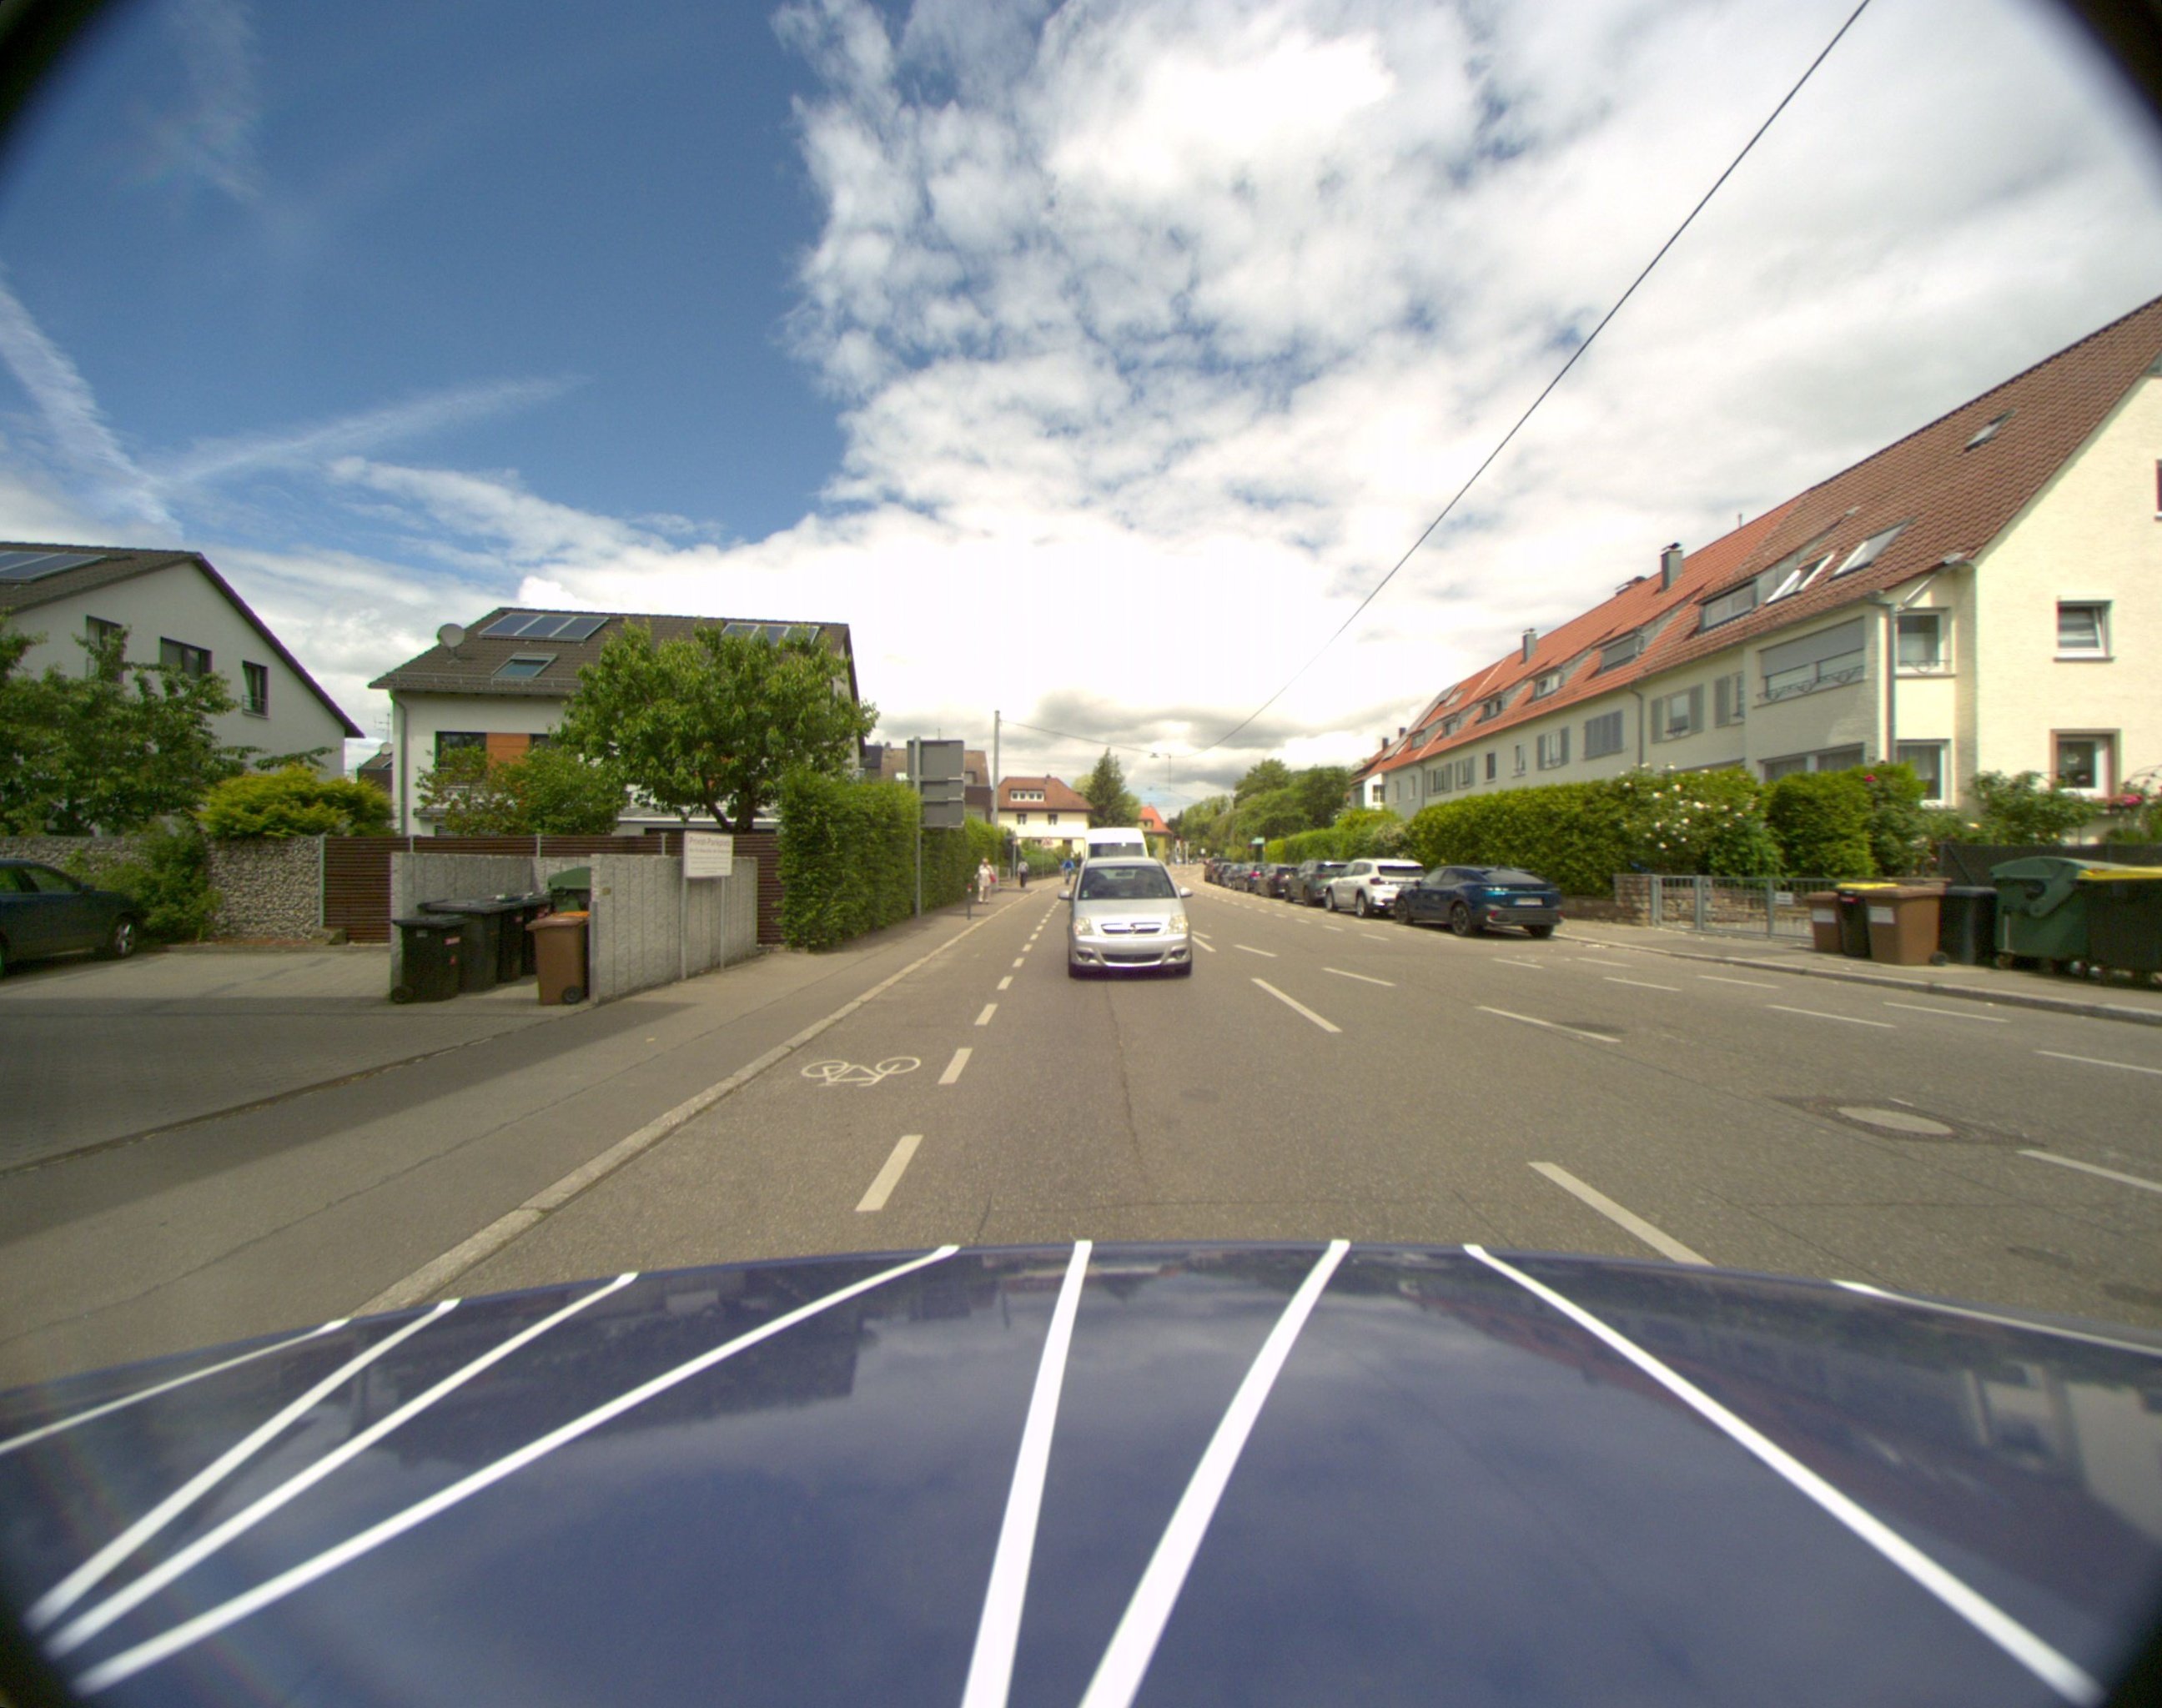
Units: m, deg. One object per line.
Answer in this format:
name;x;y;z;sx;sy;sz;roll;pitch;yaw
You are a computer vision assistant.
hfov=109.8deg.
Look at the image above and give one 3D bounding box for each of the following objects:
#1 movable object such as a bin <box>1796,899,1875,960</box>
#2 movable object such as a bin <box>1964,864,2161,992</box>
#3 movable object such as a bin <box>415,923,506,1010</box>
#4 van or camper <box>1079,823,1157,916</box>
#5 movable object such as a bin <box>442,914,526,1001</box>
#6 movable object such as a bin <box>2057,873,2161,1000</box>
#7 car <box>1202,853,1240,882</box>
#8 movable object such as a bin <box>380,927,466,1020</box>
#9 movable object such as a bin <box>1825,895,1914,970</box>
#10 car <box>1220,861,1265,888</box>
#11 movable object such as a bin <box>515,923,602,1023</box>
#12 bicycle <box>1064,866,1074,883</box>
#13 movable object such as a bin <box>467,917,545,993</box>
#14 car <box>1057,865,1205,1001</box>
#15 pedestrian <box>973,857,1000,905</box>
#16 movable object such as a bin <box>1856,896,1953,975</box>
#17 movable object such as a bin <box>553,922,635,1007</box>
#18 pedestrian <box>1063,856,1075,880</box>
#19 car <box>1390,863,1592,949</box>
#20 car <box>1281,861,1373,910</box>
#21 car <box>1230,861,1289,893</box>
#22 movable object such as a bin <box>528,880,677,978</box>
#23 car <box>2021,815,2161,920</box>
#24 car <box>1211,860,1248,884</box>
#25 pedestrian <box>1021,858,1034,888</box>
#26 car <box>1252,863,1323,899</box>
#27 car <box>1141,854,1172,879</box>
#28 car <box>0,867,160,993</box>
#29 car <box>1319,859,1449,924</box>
movable object such as a bin;11.529;1.136;11.623;0.597;0.874;0.614;0;0;1
movable object such as a bin;12.197;0.863;9.424;1.068;1.473;1.214;0;0;-1
movable object such as a bin;-7.132;1.279;8.758;0.635;0.887;0.539;-1;0;-16
van or camper;1.034;0.501;24.312;2.030;2.564;5.923;-2;-1;-1
movable object such as a bin;-7.283;1.246;9.291;0.629;0.962;0.539;-1;0;-16
movable object such as a bin;11.826;0.868;8.182;1.067;1.305;1.214;0;0;2
car;9.908;0.891;54.132;1.998;1.884;5.405;2;0;4
movable object such as a bin;-7.076;1.269;8.193;0.494;0.907;0.539;-1;0;-16
movable object such as a bin;11.369;1.112;10.969;0.597;1.018;0.658;0;0;1
car;9.157;1.145;43.416;1.782;1.409;4.440;0;0;2
movable object such as a bin;-5.608;1.255;8.184;0.534;0.945;0.686;-1;0;-13
bicycle;-0.771;1.335;49.387;0.536;1.039;2.409;-1;0;2
movable object such as a bin;-7.420;1.284;9.825;0.635;0.887;0.539;-1;0;-16
car;0.756;0.972;11.191;1.707;1.531;4.332;-2;0;4
pedestrian;-3.258;0.932;26.178;0.800;1.608;0.653;1;1;2
movable object such as a bin;11.146;1.087;10.303;0.597;1.001;0.658;0;0;1
movable object such as a bin;-5.713;1.286;8.944;0.533;0.887;0.679;-1;0;-5
pedestrian;-0.750;0.888;49.416;0.736;1.508;0.872;-1;0;1
car;8.735;1.020;16.736;1.999;1.578;4.488;0;0;-1
car;8.675;1.063;27.245;1.998;1.555;4.690;0;0;3
car;8.880;1.104;38.120;1.782;1.483;4.565;0;0;-1
movable object such as a bin;-6.922;1.045;11.114;1.192;1.255;1.535;-1;0;-2
car;19.336;0.174;13.102;3.997;1.696;1.803;-1;0;0
car;9.469;1.109;48.829;1.782;1.409;4.340;0;0;3
pedestrian;-2.927;1.013;41.597;0.604;1.596;0.836;2;0;2
car;8.799;1.104;32.755;1.998;1.400;4.690;0;0;3
car;5.814;0.943;58.316;1.931;1.771;4.004;-2;0;12
car;-14.684;0.972;9.991;1.790;1.527;3.789;0;0;-25
car;8.503;0.981;21.813;1.998;1.641;4.517;0;0;1
